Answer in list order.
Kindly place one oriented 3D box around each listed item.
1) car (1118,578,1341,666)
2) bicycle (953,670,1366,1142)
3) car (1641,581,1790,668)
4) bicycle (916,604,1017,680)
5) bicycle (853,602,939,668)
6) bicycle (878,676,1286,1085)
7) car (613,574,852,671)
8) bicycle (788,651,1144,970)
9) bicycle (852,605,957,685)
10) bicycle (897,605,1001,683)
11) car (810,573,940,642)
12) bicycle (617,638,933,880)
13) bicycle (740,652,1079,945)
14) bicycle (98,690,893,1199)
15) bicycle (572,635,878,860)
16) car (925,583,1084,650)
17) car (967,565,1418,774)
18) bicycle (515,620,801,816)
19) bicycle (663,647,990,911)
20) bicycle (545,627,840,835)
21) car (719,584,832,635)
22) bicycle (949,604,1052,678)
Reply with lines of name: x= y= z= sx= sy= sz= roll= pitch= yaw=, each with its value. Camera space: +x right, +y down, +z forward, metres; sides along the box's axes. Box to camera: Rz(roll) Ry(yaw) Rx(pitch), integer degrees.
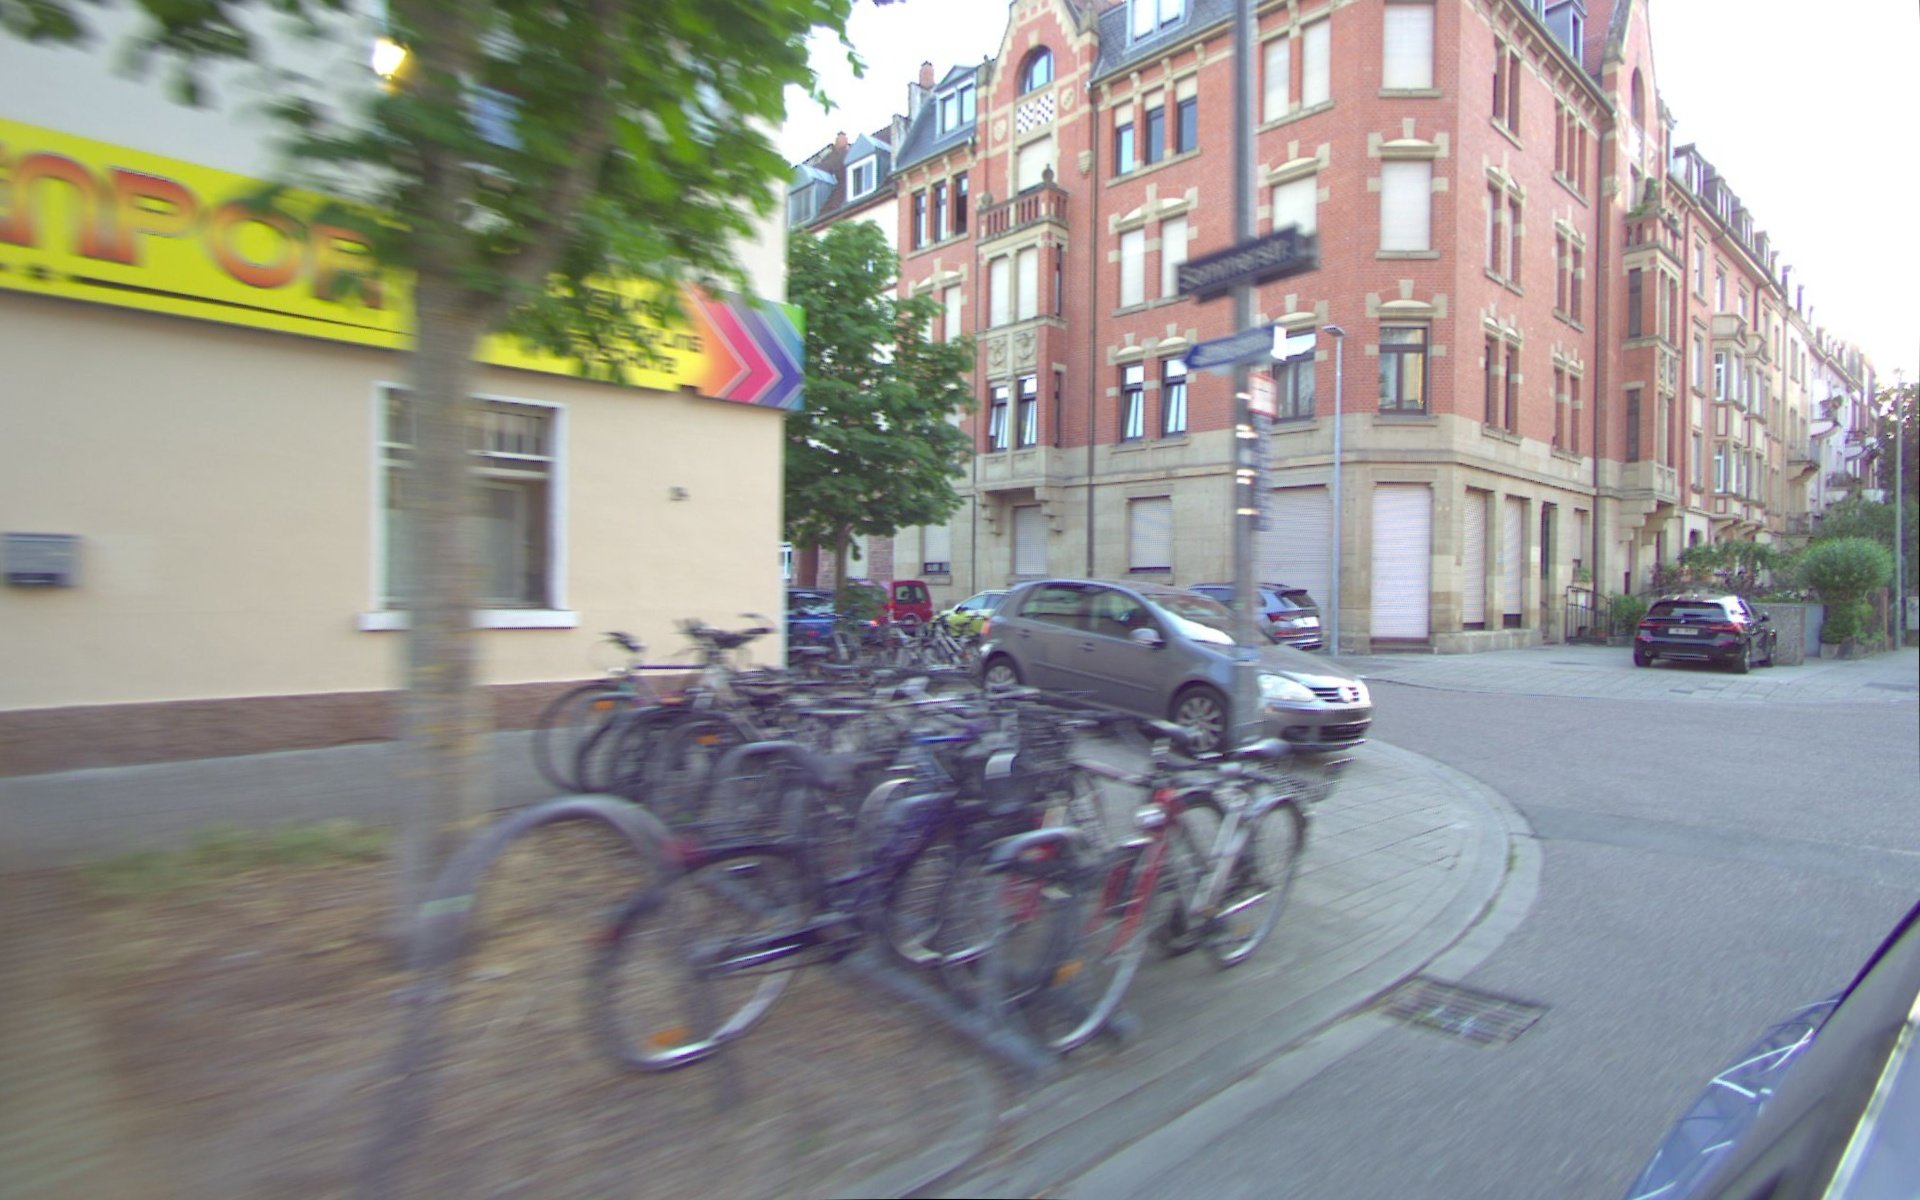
car: x=5.635 y=0.400 z=21.542 sx=1.750 sy=1.687 sz=4.336 roll=0 pitch=0 yaw=-44
bicycle: x=0.796 y=0.856 z=3.462 sx=1.939 sy=1.113 sz=0.357 roll=0 pitch=0 yaw=-45
car: x=14.992 y=0.413 z=20.004 sx=3.934 sy=1.543 sz=1.796 roll=0 pitch=1 yaw=-44
bicycle: x=0.073 y=0.615 z=15.562 sx=0.440 sy=1.076 sz=1.819 roll=0 pitch=0 yaw=-42
bicycle: x=-1.137 y=0.584 z=17.717 sx=0.473 sy=1.076 sz=1.819 roll=0 pitch=0 yaw=-42
bicycle: x=0.558 y=0.864 z=3.707 sx=1.939 sy=1.036 sz=0.357 roll=0 pitch=0 yaw=-45
car: x=-3.862 y=0.334 z=17.400 sx=3.590 sy=1.489 sz=1.832 roll=0 pitch=0 yaw=-41
bicycle: x=0.112 y=0.781 z=4.332 sx=1.797 sy=1.036 sz=0.357 roll=0 pitch=0 yaw=-45
bicycle: x=-0.837 y=0.620 z=14.785 sx=0.520 sy=1.076 sz=1.819 roll=0 pitch=0 yaw=-42
bicycle: x=-0.192 y=0.621 z=15.028 sx=0.469 sy=1.076 sz=1.819 roll=0 pitch=0 yaw=-42
car: x=-2.555 y=0.191 z=29.765 sx=1.813 sy=1.882 sz=3.869 roll=0 pitch=0 yaw=-44
bicycle: x=-0.906 y=0.756 z=5.370 sx=1.756 sy=1.036 sz=0.357 roll=0 pitch=0 yaw=-45
bicycle: x=-0.148 y=0.798 z=4.626 sx=1.756 sy=1.036 sz=0.357 roll=0 pitch=0 yaw=-45
bicycle: x=-0.947 y=0.811 z=2.479 sx=1.756 sy=1.036 sz=0.357 roll=0 pitch=0 yaw=-45
bicycle: x=-1.249 y=0.748 z=5.699 sx=1.756 sy=1.036 sz=0.357 roll=0 pitch=0 yaw=-45
car: x=1.085 y=0.368 z=26.203 sx=1.800 sy=1.585 sz=3.990 roll=0 pitch=1 yaw=-44
car: x=2.000 y=0.485 z=9.742 sx=1.771 sy=1.509 sz=3.999 roll=1 pitch=2 yaw=-37
bicycle: x=-1.818 y=0.667 z=6.323 sx=1.756 sy=1.036 sz=0.357 roll=0 pitch=0 yaw=-45
bicycle: x=-0.584 y=0.793 z=5.037 sx=1.756 sy=1.036 sz=0.357 roll=0 pitch=0 yaw=-45
bicycle: x=-1.523 y=0.702 z=6.032 sx=1.756 sy=1.036 sz=0.357 roll=0 pitch=0 yaw=-45
car: x=-6.167 y=0.280 z=33.579 sx=1.775 sy=1.581 sz=3.990 roll=0 pitch=1 yaw=-44
bicycle: x=0.607 y=0.605 z=15.736 sx=0.473 sy=1.076 sz=1.819 roll=0 pitch=0 yaw=-42
